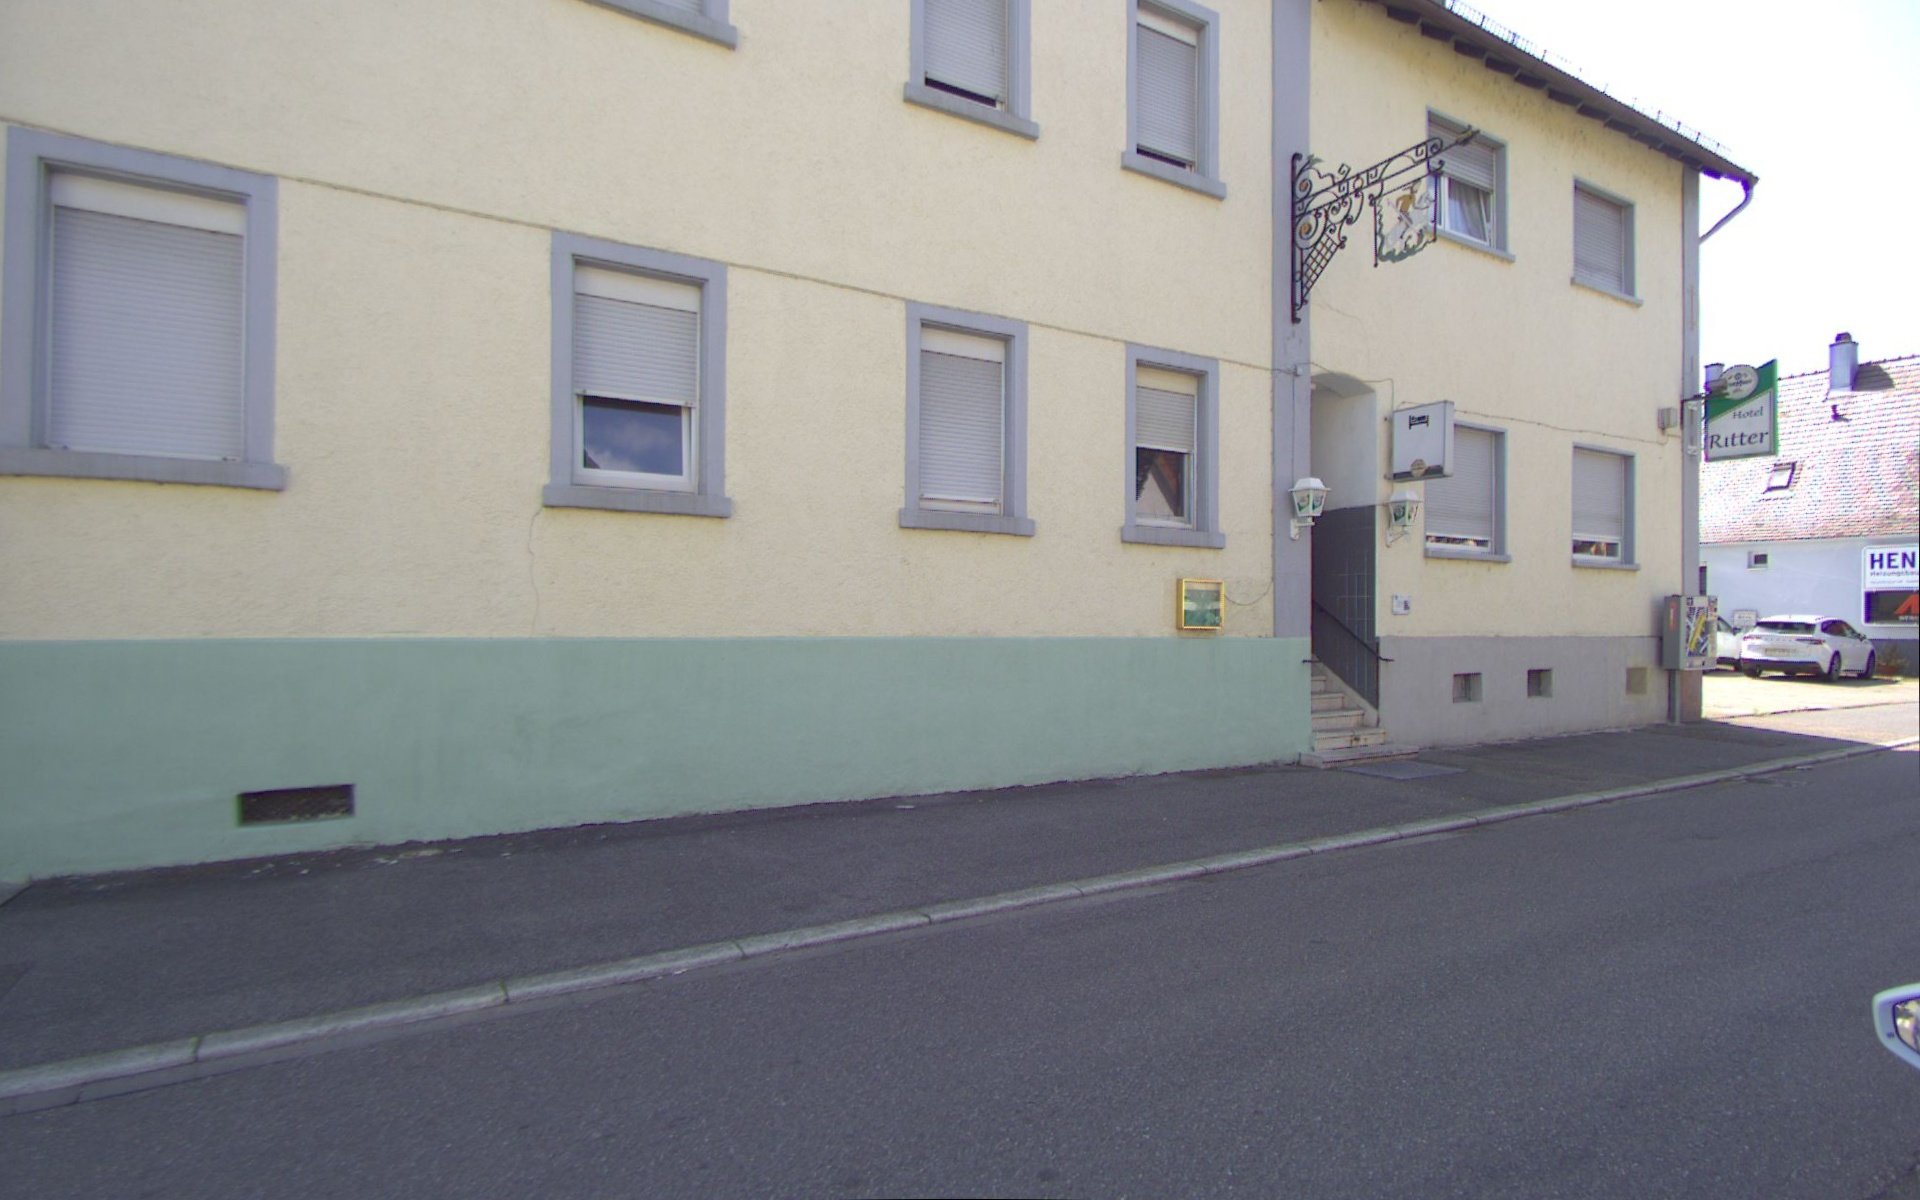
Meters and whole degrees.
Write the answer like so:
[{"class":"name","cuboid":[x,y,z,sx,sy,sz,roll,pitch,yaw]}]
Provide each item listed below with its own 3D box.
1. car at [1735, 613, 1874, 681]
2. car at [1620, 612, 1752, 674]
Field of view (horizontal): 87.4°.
[{"class":"car","cuboid":[21.877,1.174,25.981,4.156,1.577,1.708,1,0,-35]},{"class":"car","cuboid":[20.367,1.172,28.141,4.156,1.577,1.708,1,0,-35]}]
